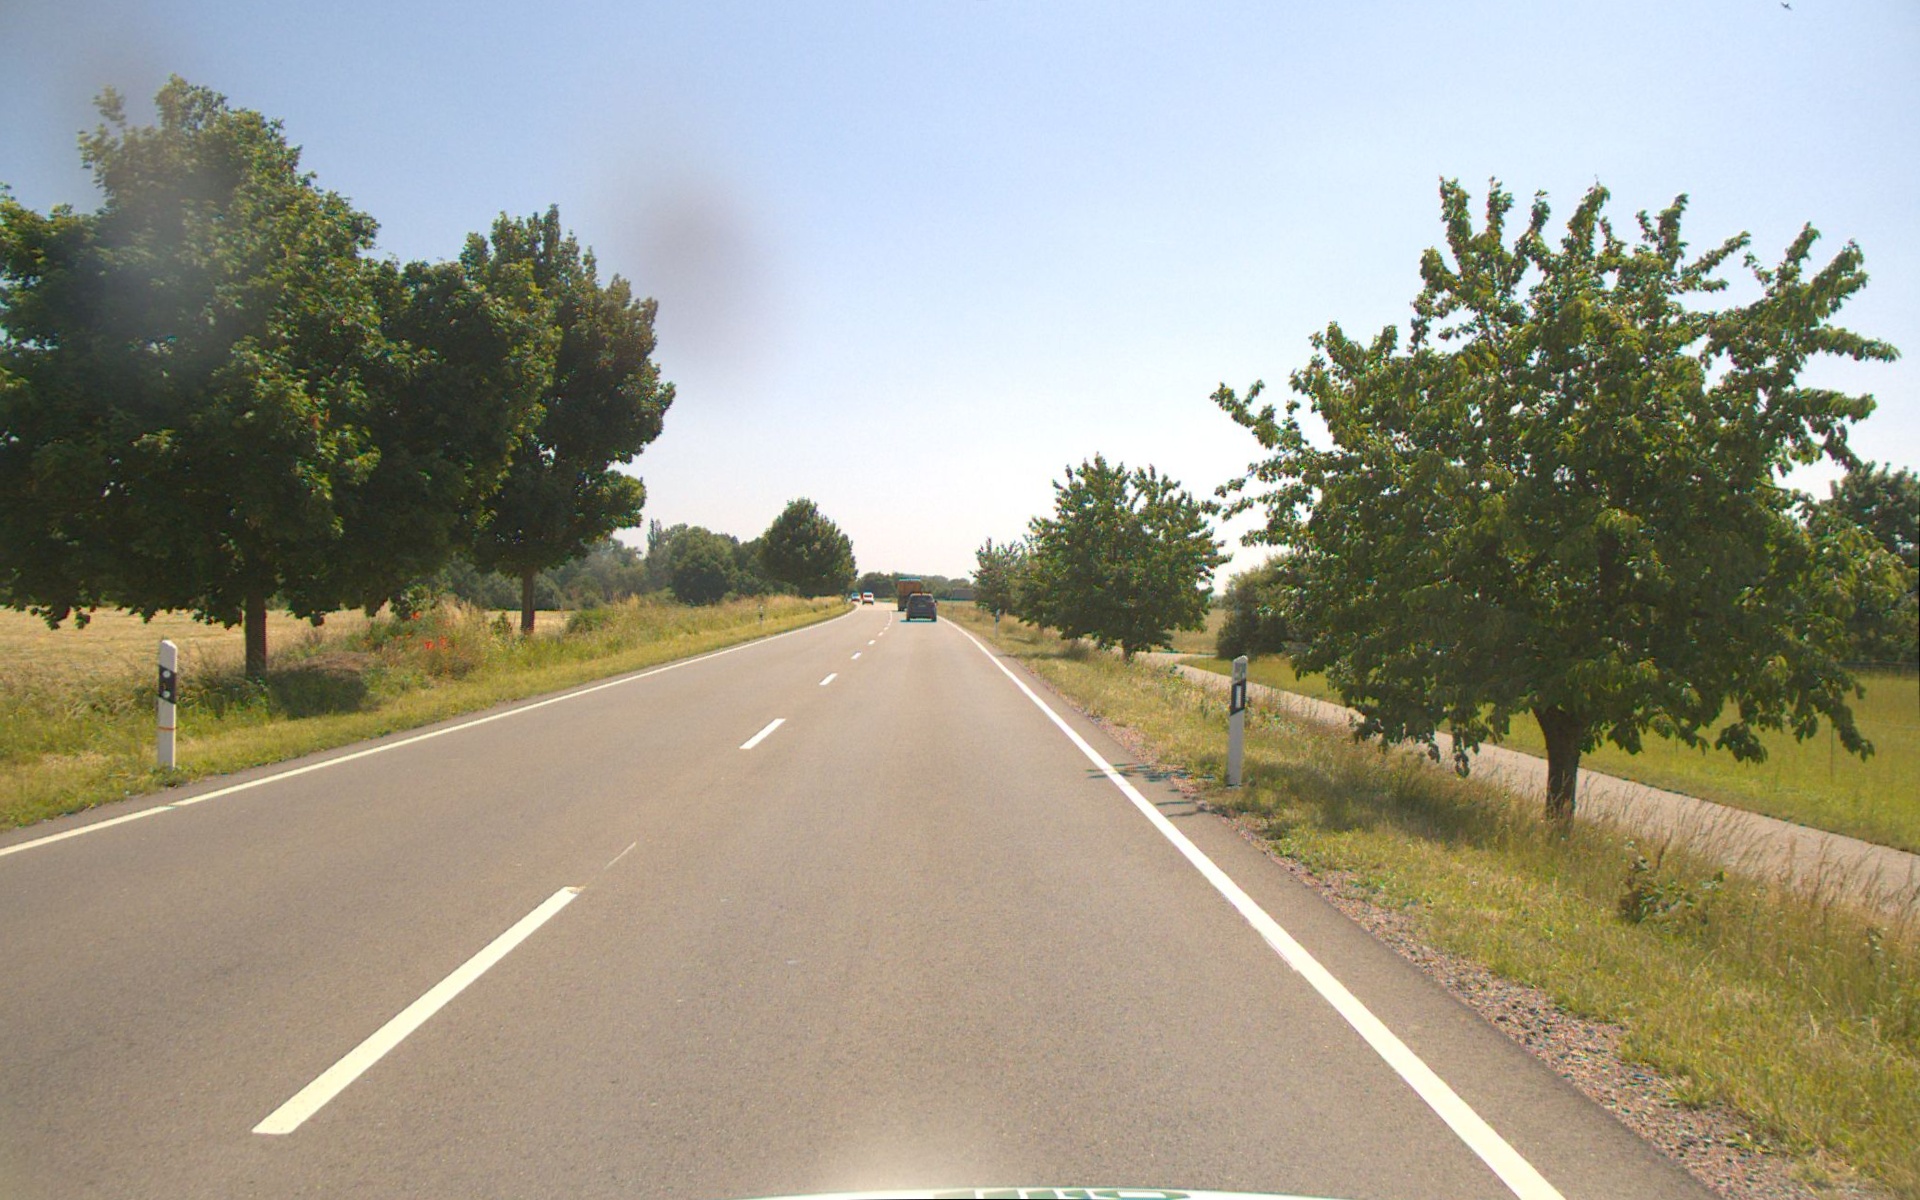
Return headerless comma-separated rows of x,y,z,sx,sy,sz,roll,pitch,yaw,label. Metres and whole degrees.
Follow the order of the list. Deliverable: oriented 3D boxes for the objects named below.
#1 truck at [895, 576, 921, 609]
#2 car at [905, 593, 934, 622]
-5.247,-0.756,166.812,2.324,3.195,8.740,1,0,-4,truck
-2.477,0.475,101.685,1.680,1.723,3.988,1,0,-1,car
